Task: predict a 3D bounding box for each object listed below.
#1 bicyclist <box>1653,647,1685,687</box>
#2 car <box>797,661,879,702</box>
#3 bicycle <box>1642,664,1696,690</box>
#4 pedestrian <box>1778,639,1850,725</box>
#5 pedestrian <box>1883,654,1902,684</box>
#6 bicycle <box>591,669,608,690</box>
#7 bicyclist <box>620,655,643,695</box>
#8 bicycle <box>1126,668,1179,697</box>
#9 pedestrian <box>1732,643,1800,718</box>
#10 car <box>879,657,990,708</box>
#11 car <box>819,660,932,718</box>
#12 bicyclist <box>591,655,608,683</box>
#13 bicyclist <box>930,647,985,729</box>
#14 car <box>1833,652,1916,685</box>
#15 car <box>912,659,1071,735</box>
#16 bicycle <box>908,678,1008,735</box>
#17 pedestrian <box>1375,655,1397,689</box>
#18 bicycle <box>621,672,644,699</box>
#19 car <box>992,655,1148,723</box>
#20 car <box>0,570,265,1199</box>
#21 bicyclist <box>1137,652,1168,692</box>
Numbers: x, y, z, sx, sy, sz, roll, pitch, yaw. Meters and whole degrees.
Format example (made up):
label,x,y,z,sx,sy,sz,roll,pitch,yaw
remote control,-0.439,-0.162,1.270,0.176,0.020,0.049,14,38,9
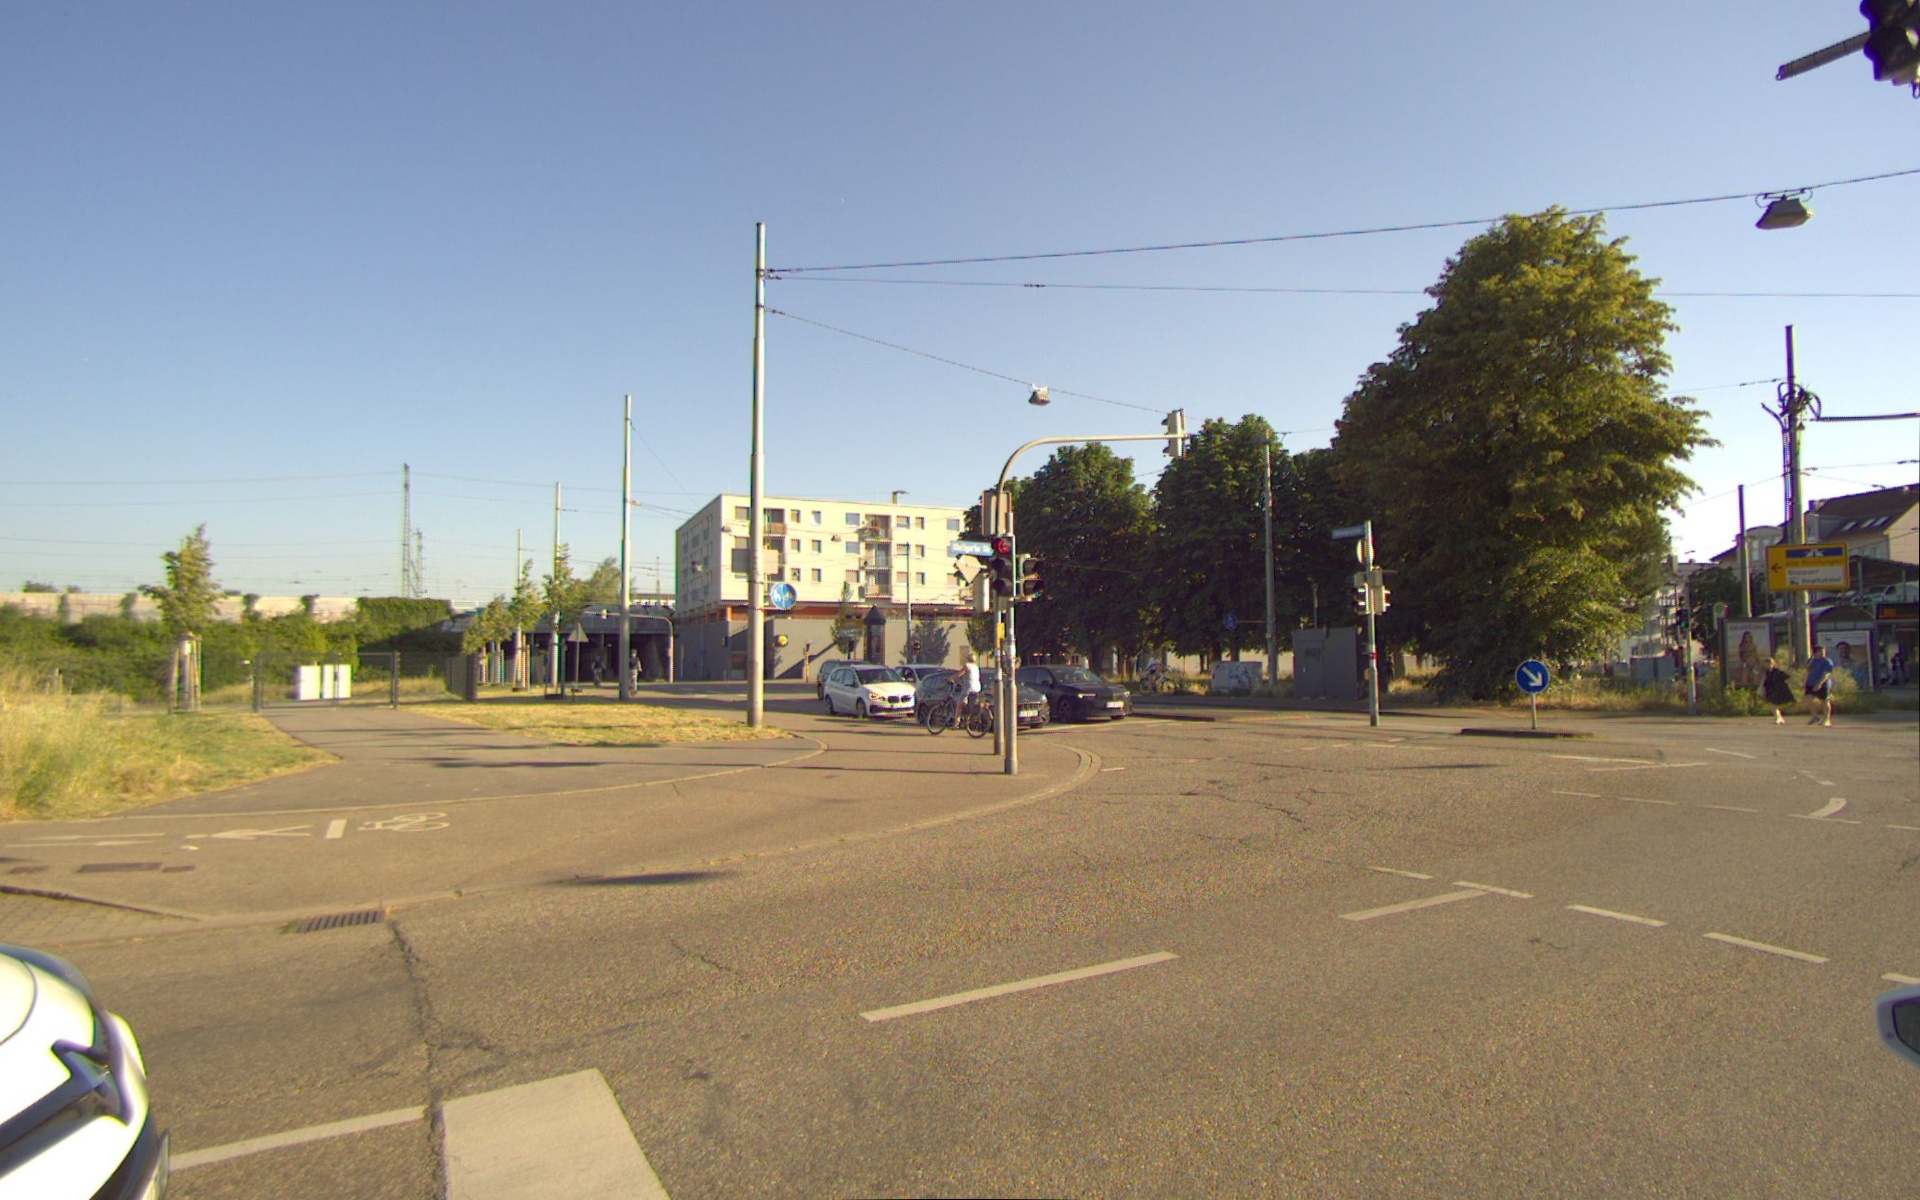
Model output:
label,x,y,z,sx,sy,sz,roll,pitch,yaw
bicyclist,30.058,2.836,42.592,0.872,1.673,0.669,0,-3,-15
car,-5.123,3.336,41.705,1.975,1.587,4.426,1,-4,-27
bicycle,30.036,3.259,42.551,1.984,1.083,0.662,0,-3,-13
pedestrian,20.134,1.918,23.687,1.055,1.950,0.908,1,-4,-29
pedestrian,48.000,3.550,51.711,0.558,1.520,0.677,-2,-4,32
bicycle,-20.830,4.583,57.986,0.781,1.164,2.281,1,-4,-23
bicyclist,-13.790,3.138,42.142,0.866,1.646,0.968,1,-3,-22
bicycle,7.973,3.406,41.638,0.695,1.157,2.176,2,-4,-41
pedestrian,19.516,1.943,24.338,1.055,1.769,0.908,1,-4,-29
car,-0.935,2.725,33.656,1.975,1.587,4.426,1,-4,-27
car,-2.645,2.648,30.565,1.975,1.587,4.246,1,-4,-27
bicyclist,-20.859,3.984,58.104,0.840,1.567,1.016,1,-4,-23
bicyclist,-0.047,1.779,20.459,0.843,1.626,0.775,-2,-4,33
car,59.358,4.438,65.344,2.017,1.987,5.153,-4,-4,19
car,0.646,2.249,24.055,1.975,1.587,4.246,0,-3,-27
bicycle,-0.053,2.142,20.388,1.985,1.083,0.662,-3,-4,33
pedestrian,24.228,4.087,57.121,0.677,1.896,0.940,1,-3,-22
bicycle,-13.741,3.555,42.110,0.744,1.107,1.939,1,-4,-23
car,2.775,2.278,26.410,2.027,1.587,4.423,1,-4,-26
car,-3.058,0.711,1.010,3.733,1.488,1.692,2,-4,-32
bicyclist,7.982,2.974,41.651,0.708,1.650,1.030,2,-4,-40
